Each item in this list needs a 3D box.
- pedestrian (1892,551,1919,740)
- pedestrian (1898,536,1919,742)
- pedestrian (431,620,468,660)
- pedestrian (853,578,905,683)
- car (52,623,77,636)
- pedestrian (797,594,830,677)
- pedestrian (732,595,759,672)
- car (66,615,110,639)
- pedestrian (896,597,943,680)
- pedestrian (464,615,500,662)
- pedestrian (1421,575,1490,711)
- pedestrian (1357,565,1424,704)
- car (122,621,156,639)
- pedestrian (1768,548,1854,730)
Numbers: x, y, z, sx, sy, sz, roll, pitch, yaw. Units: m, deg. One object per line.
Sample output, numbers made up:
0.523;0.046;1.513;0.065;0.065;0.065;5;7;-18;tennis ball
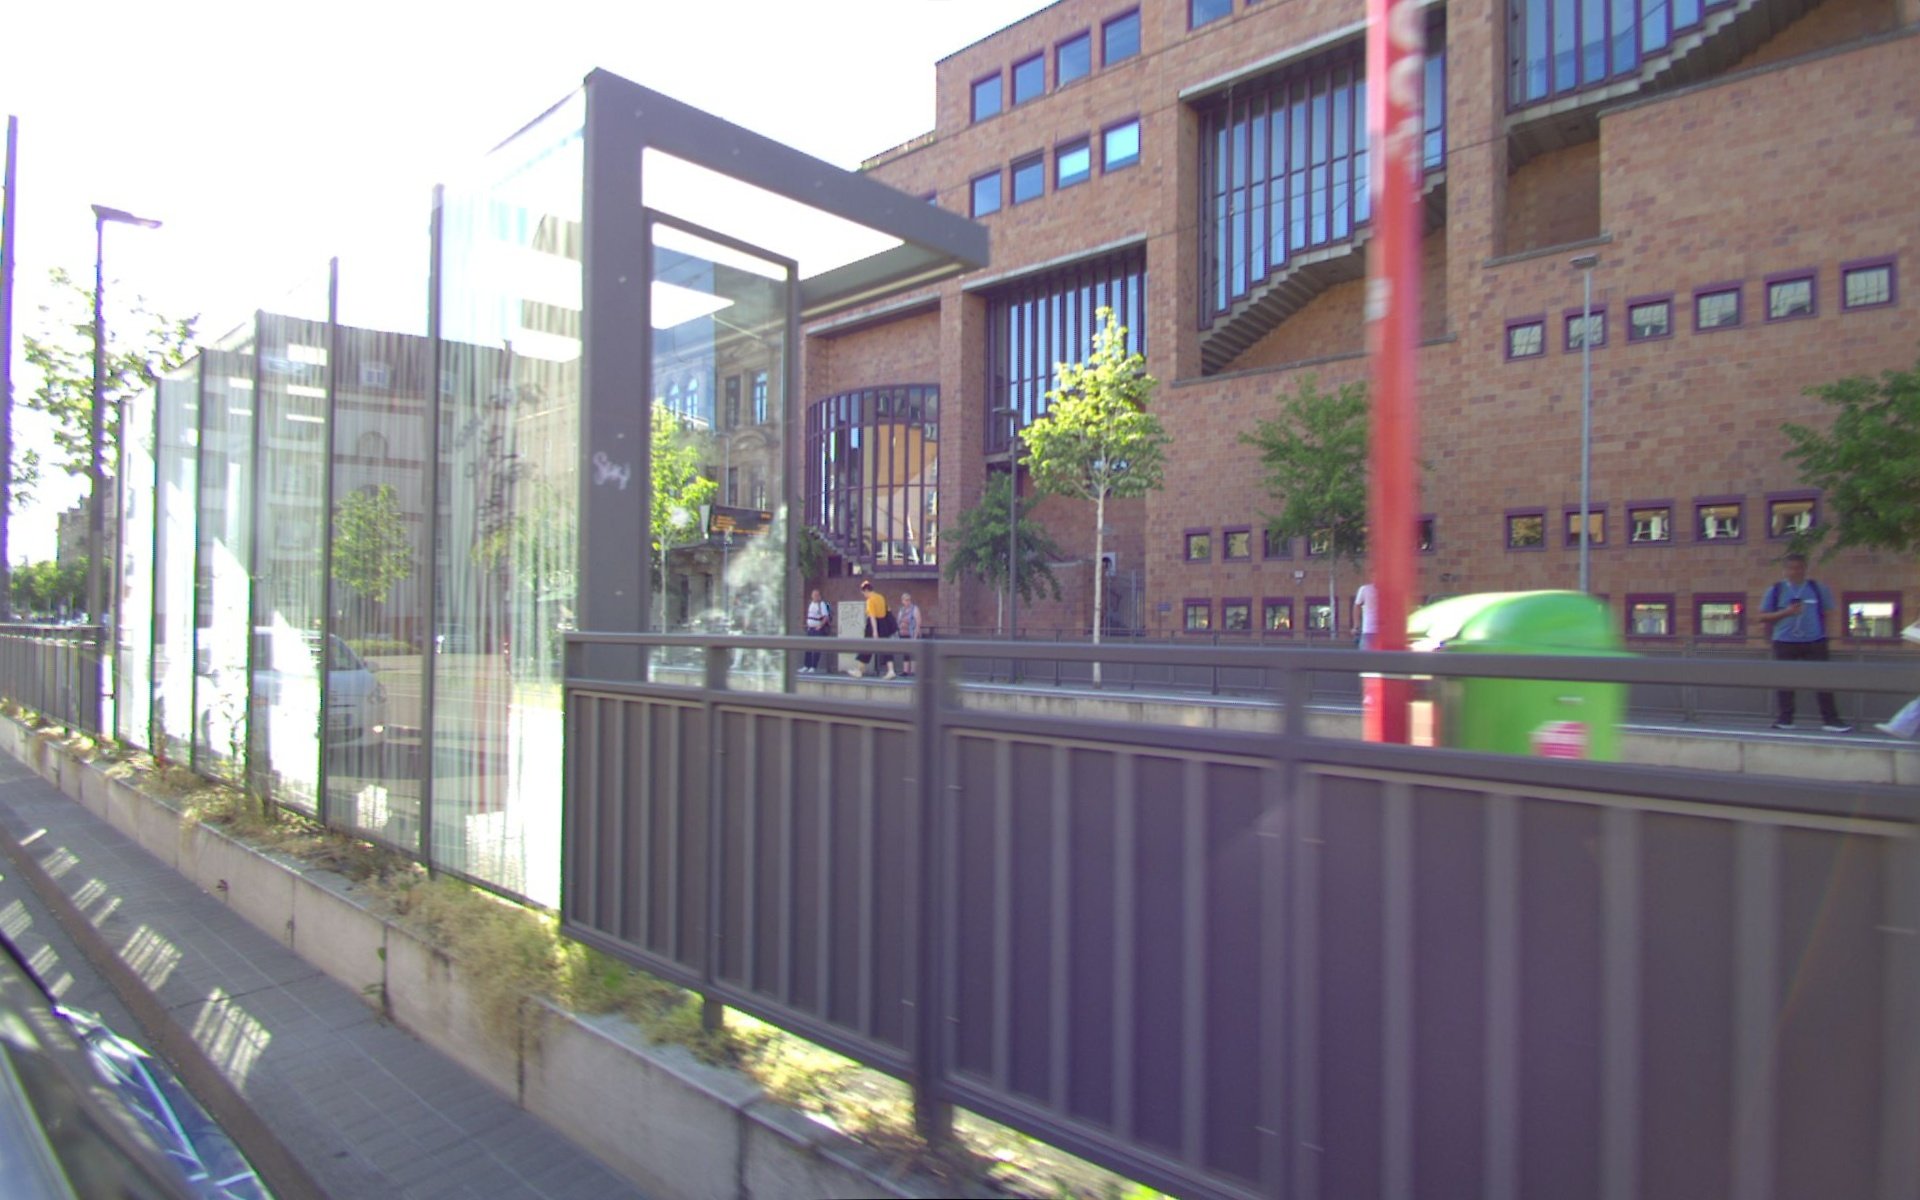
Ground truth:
8.703;0.383;8.724;0.945;1.620;0.633;-1;0;42;pedestrian
8.199;0.300;8.118;0.945;1.655;0.633;-1;0;42;pedestrian
-15.209;1.197;30.144;0.721;1.177;0.713;-1;-4;41;pedestrian
-1.352;0.494;16.929;0.541;1.708;0.633;-1;0;41;pedestrian
-106.094;3.468;119.945;4.026;1.490;1.730;-1;0;41;car
-2.925;0.703;20.205;0.553;1.633;0.374;-1;0;42;pedestrian
-4.652;0.722;21.994;0.416;1.661;0.374;-1;0;42;pedestrian
-73.068;2.277;84.765;4.577;1.894;1.974;-1;0;38;car
-0.731;0.694;18.406;0.642;1.470;0.533;-1;0;42;pedestrian
-13.632;1.092;28.854;0.721;1.319;0.639;-1;-4;41;pedestrian
6.133;0.514;12.527;0.616;1.624;0.616;-1;-1;42;pedestrian
5.536;0.433;13.005;0.616;1.728;0.616;-1;-1;42;pedestrian
-78.832;2.881;97.138;4.544;1.671;1.917;-1;0;43;car
8.534;0.380;10.148;0.616;1.751;0.575;-1;-1;42;pedestrian
